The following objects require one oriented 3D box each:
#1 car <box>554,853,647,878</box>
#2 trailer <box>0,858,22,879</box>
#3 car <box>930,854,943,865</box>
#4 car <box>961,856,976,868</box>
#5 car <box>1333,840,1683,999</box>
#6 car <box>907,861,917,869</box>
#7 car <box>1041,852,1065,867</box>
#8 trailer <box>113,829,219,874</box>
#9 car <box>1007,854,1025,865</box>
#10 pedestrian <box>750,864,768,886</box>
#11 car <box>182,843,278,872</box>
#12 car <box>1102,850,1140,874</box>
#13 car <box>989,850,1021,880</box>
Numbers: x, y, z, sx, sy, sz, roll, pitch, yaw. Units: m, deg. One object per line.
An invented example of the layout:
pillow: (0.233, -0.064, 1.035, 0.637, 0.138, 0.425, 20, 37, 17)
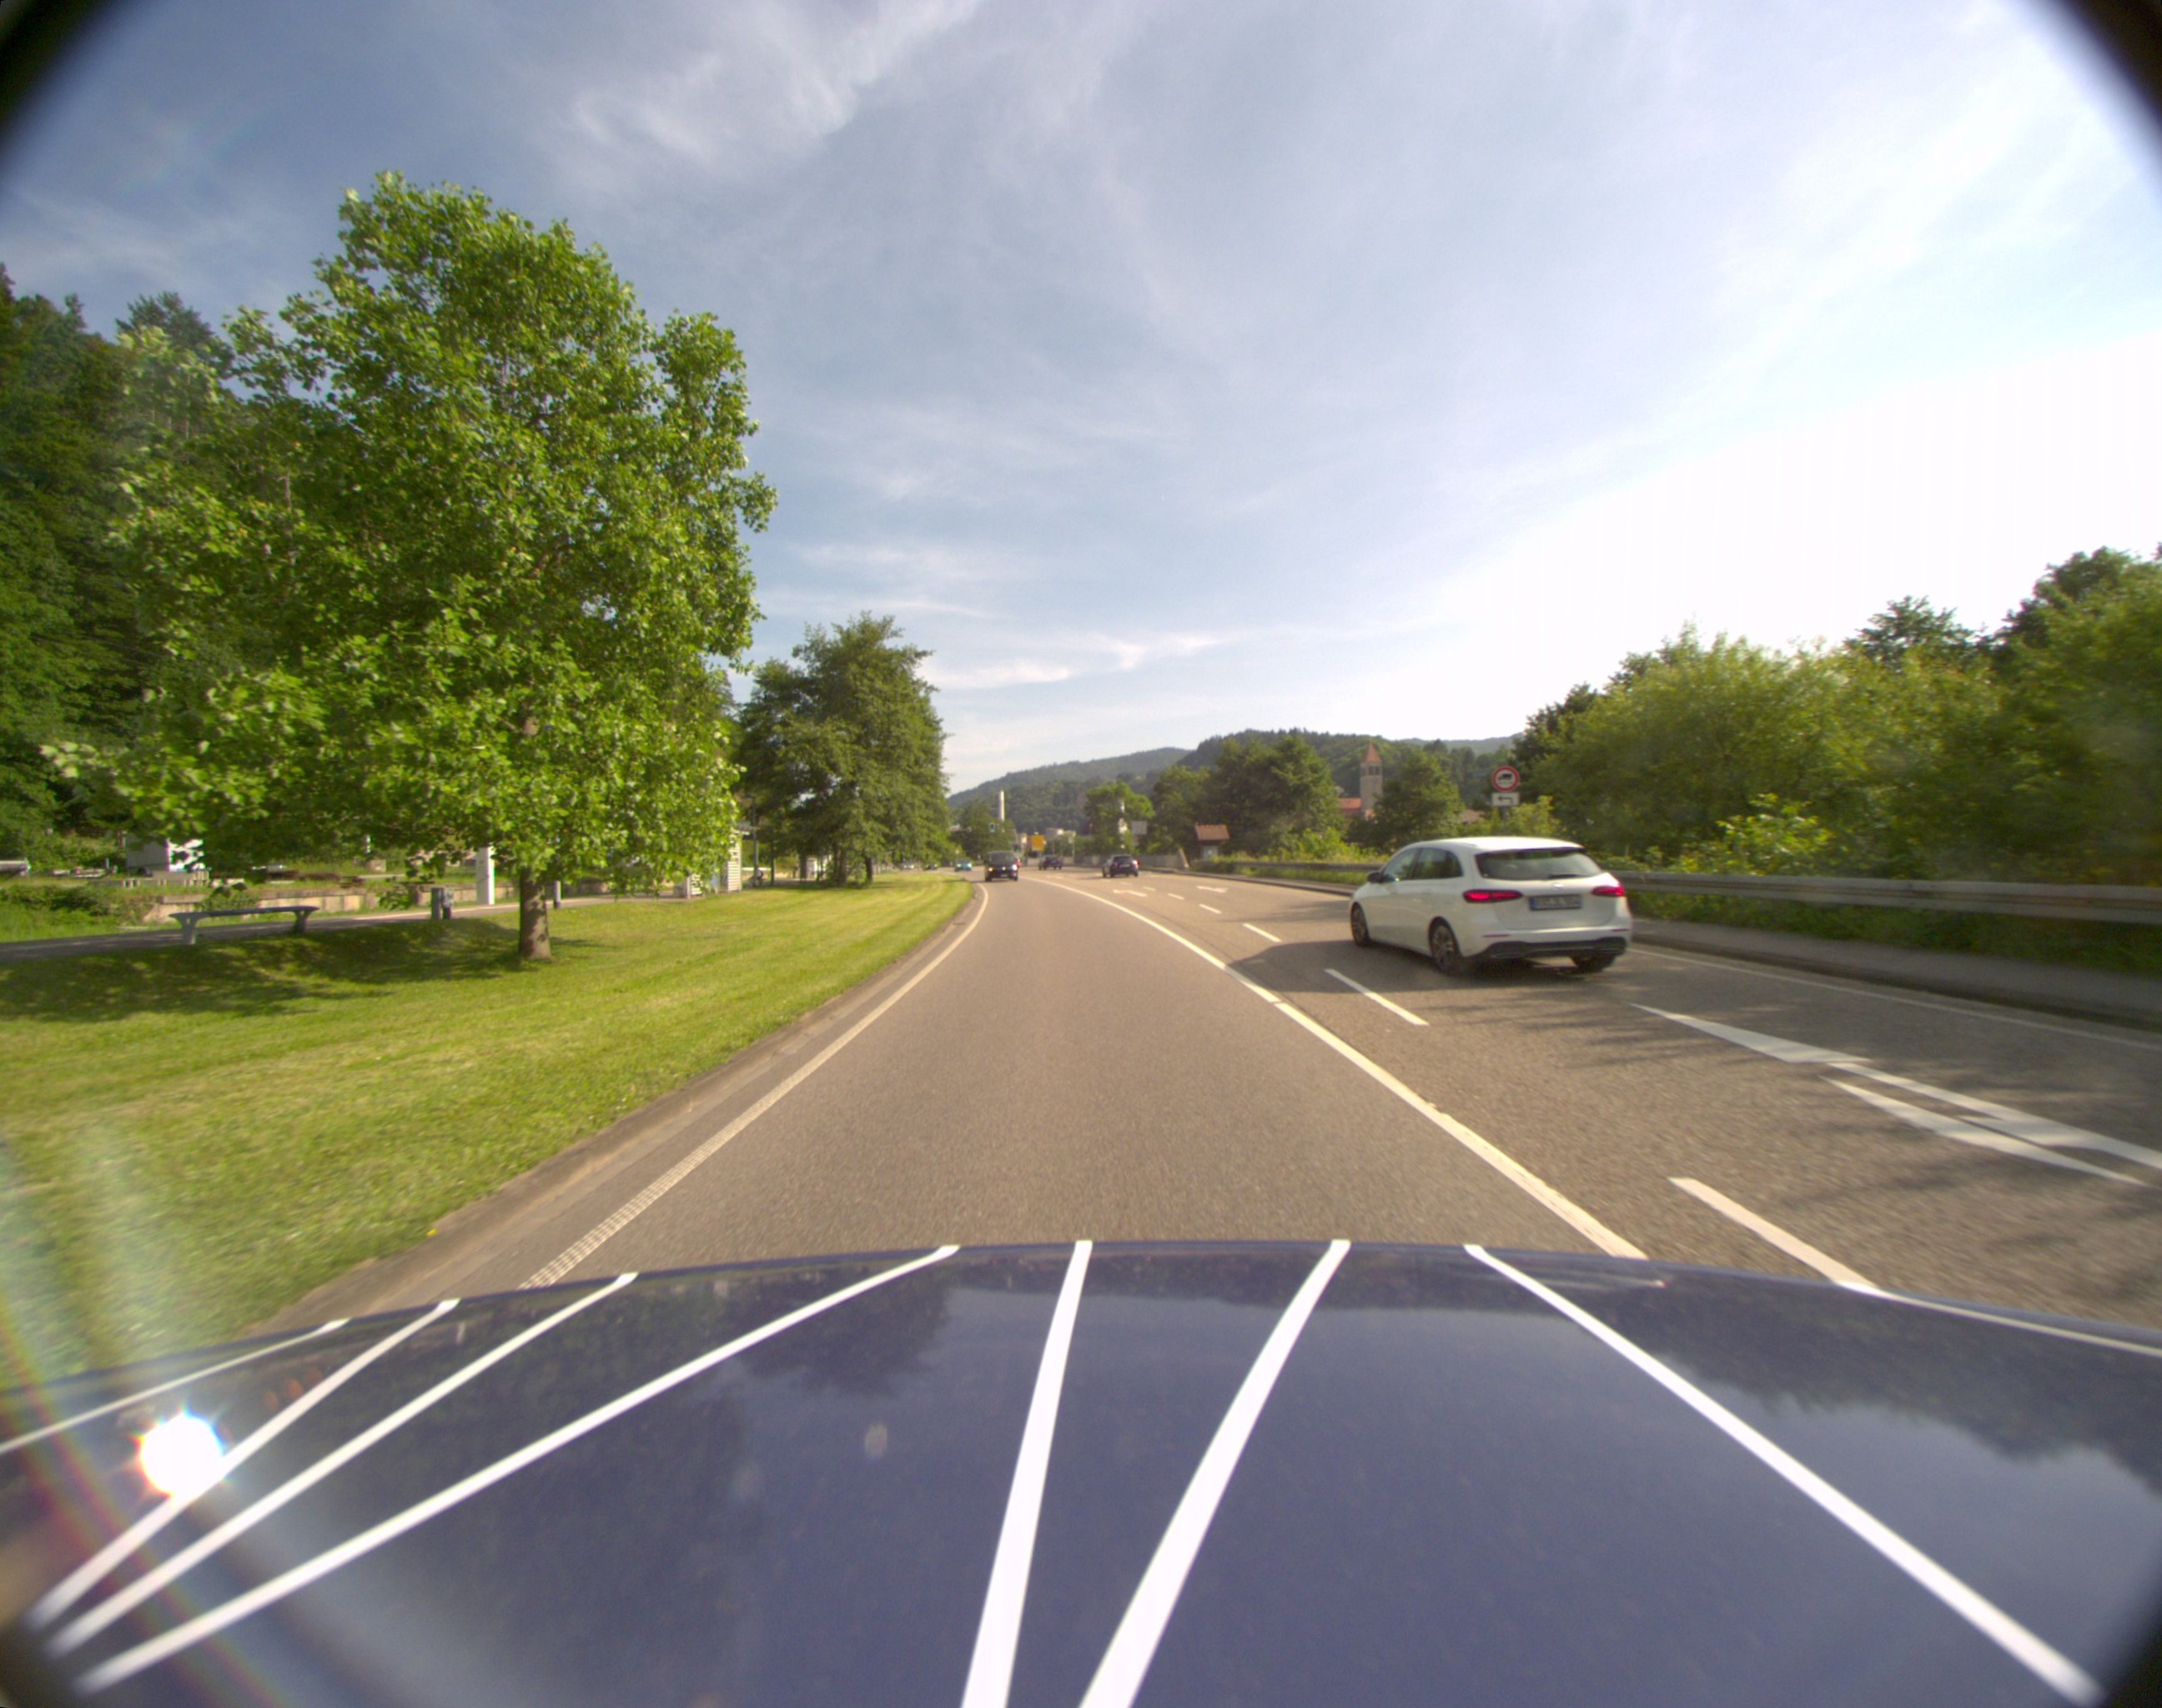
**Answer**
car: (-33.266, 0.787, 52.718, 4.967, 1.578, 2.140, -1, 0, -8)
trailer: (-48.399, 0.647, 32.950, 3.067, 0.909, 1.739, 0, 0, 11)
car: (-24.267, 0.857, 127.365, 2.000, 1.783, 3.997, 0, 0, -9)
car: (-14.083, 0.986, 95.202, 1.769, 1.452, 3.573, 0, 0, -9)
car: (4.918, 0.638, 9.695, 1.949, 1.477, 4.585, -2, 0, 2)
car: (-32.796, 2.054, 147.198, 1.878, 1.452, 3.725, 0, 0, -13)
car: (-2.942, 0.575, 78.876, 1.857, 1.461, 4.538, -3, 0, -9)
trailer: (-46.227, -0.118, 38.431, 3.698, 2.177, 1.820, 0, 0, 11)
car: (-8.620, 0.729, 100.013, 1.681, 1.451, 4.196, -2, 0, -14)
pedestrian: (-16.969, 1.088, 40.018, 0.637, 1.154, 0.726, 0, 1, 0)
car: (-44.967, 0.174, 40.171, 3.608, 1.478, 1.672, 0, 0, 9)
car: (2.469, 0.462, 48.037, 1.699, 1.394, 4.199, -2, 0, -7)
car: (-4.936, 0.667, 49.371, 1.910, 1.868, 4.345, -1, 0, -6)
